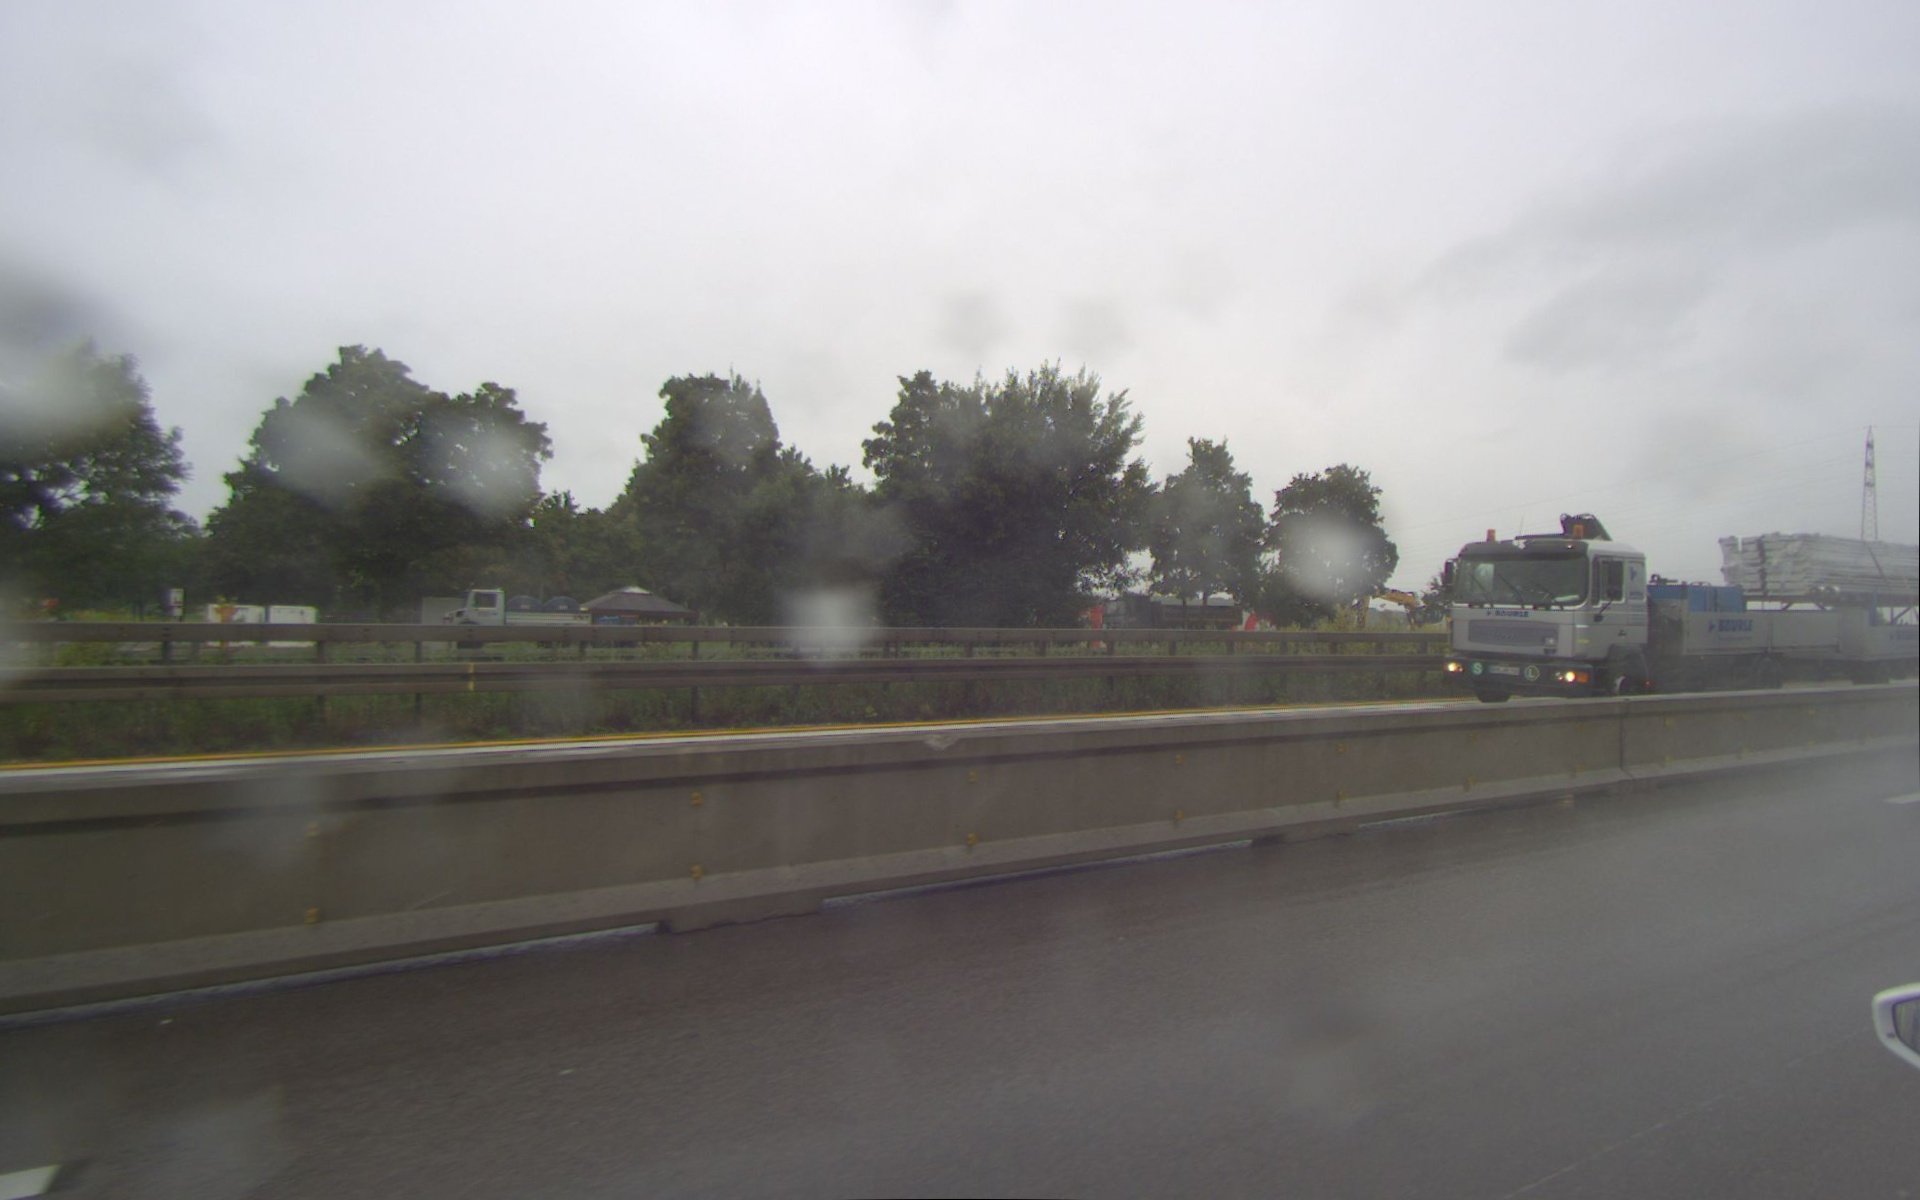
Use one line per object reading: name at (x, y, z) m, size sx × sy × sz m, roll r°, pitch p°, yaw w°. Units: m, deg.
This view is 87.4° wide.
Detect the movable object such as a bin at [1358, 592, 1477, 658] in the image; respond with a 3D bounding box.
movable object such as a bin at (29.883, 1.674, 65.472) m, size 8.365 × 3.971 × 2.716 m, roll 3°, pitch -1°, yaw -30°

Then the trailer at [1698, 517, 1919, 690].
trailer at (21.073, 0.162, 23.373) m, size 9.599 × 3.407 × 2.649 m, roll 1°, pitch 0°, yaw -30°

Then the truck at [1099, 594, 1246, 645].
truck at (12.258, 1.138, 57.601) m, size 8.793 × 2.740 × 2.504 m, roll 1°, pitch -1°, yaw -29°

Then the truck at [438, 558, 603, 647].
truck at (-17.692, 0.161, 40.520) m, size 5.794 × 3.255 × 2.603 m, roll 3°, pitch -1°, yaw -27°

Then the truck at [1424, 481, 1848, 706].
truck at (12.776, -0.007, 18.600) m, size 9.439 × 3.392 × 2.627 m, roll 1°, pitch 0°, yaw -30°
